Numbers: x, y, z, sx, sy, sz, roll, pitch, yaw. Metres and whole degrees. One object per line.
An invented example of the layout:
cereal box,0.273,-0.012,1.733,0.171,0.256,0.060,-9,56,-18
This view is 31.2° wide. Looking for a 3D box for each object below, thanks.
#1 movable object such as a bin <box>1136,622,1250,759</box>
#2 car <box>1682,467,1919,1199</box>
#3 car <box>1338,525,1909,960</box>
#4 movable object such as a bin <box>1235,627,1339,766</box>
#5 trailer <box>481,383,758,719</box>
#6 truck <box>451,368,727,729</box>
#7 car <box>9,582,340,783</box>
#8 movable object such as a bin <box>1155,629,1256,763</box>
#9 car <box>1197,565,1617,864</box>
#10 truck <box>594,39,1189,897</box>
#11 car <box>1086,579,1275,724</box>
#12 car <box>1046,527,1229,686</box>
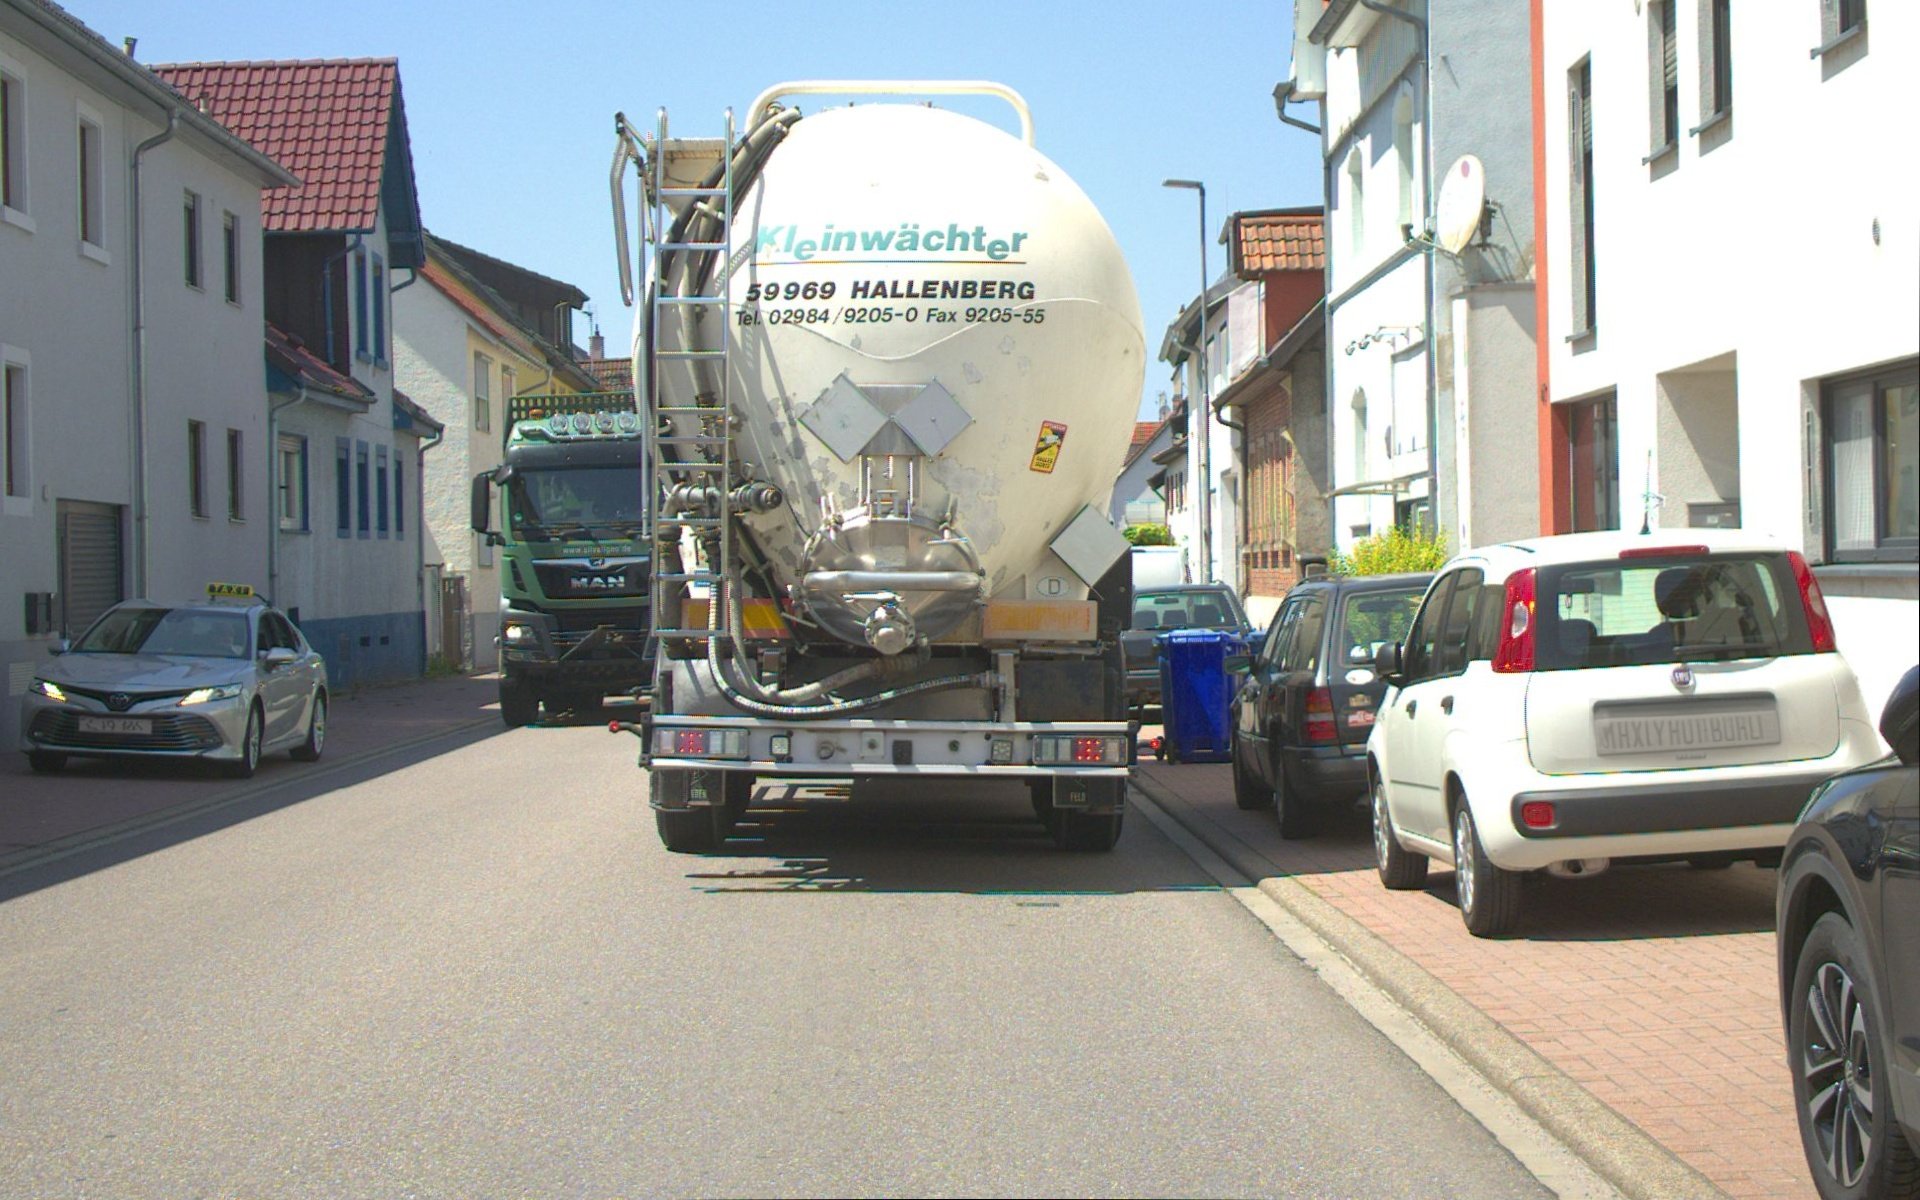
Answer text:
movable object such as a bin,1.939,0.746,28.497,0.722,1.069,0.971,-3,0,15
car,2.698,0.525,5.929,1.802,1.608,4.549,-3,1,-1
car,2.654,0.520,14.507,1.606,1.517,3.545,-3,0,-1
movable object such as a bin,2.628,0.768,27.608,0.654,1.056,0.835,-3,0,15
trailer,-4.590,-0.608,49.535,2.630,3.965,15.699,-2,0,-1
truck,-4.417,-0.588,42.213,2.618,3.972,6.852,-2,0,-1
car,-6.654,0.647,29.619,1.808,1.552,4.565,1,0,0
movable object such as a bin,1.988,0.771,27.791,0.656,1.031,0.684,-3,0,15
car,2.472,0.581,20.148,1.700,1.442,4.836,-3,0,-1
truck,-0.348,-0.610,19.909,2.732,3.947,8.142,0,0,0
car,2.375,0.520,38.015,1.770,1.461,4.577,-1,0,0
car,2.303,0.067,45.837,1.946,1.963,4.785,-1,0,-2
